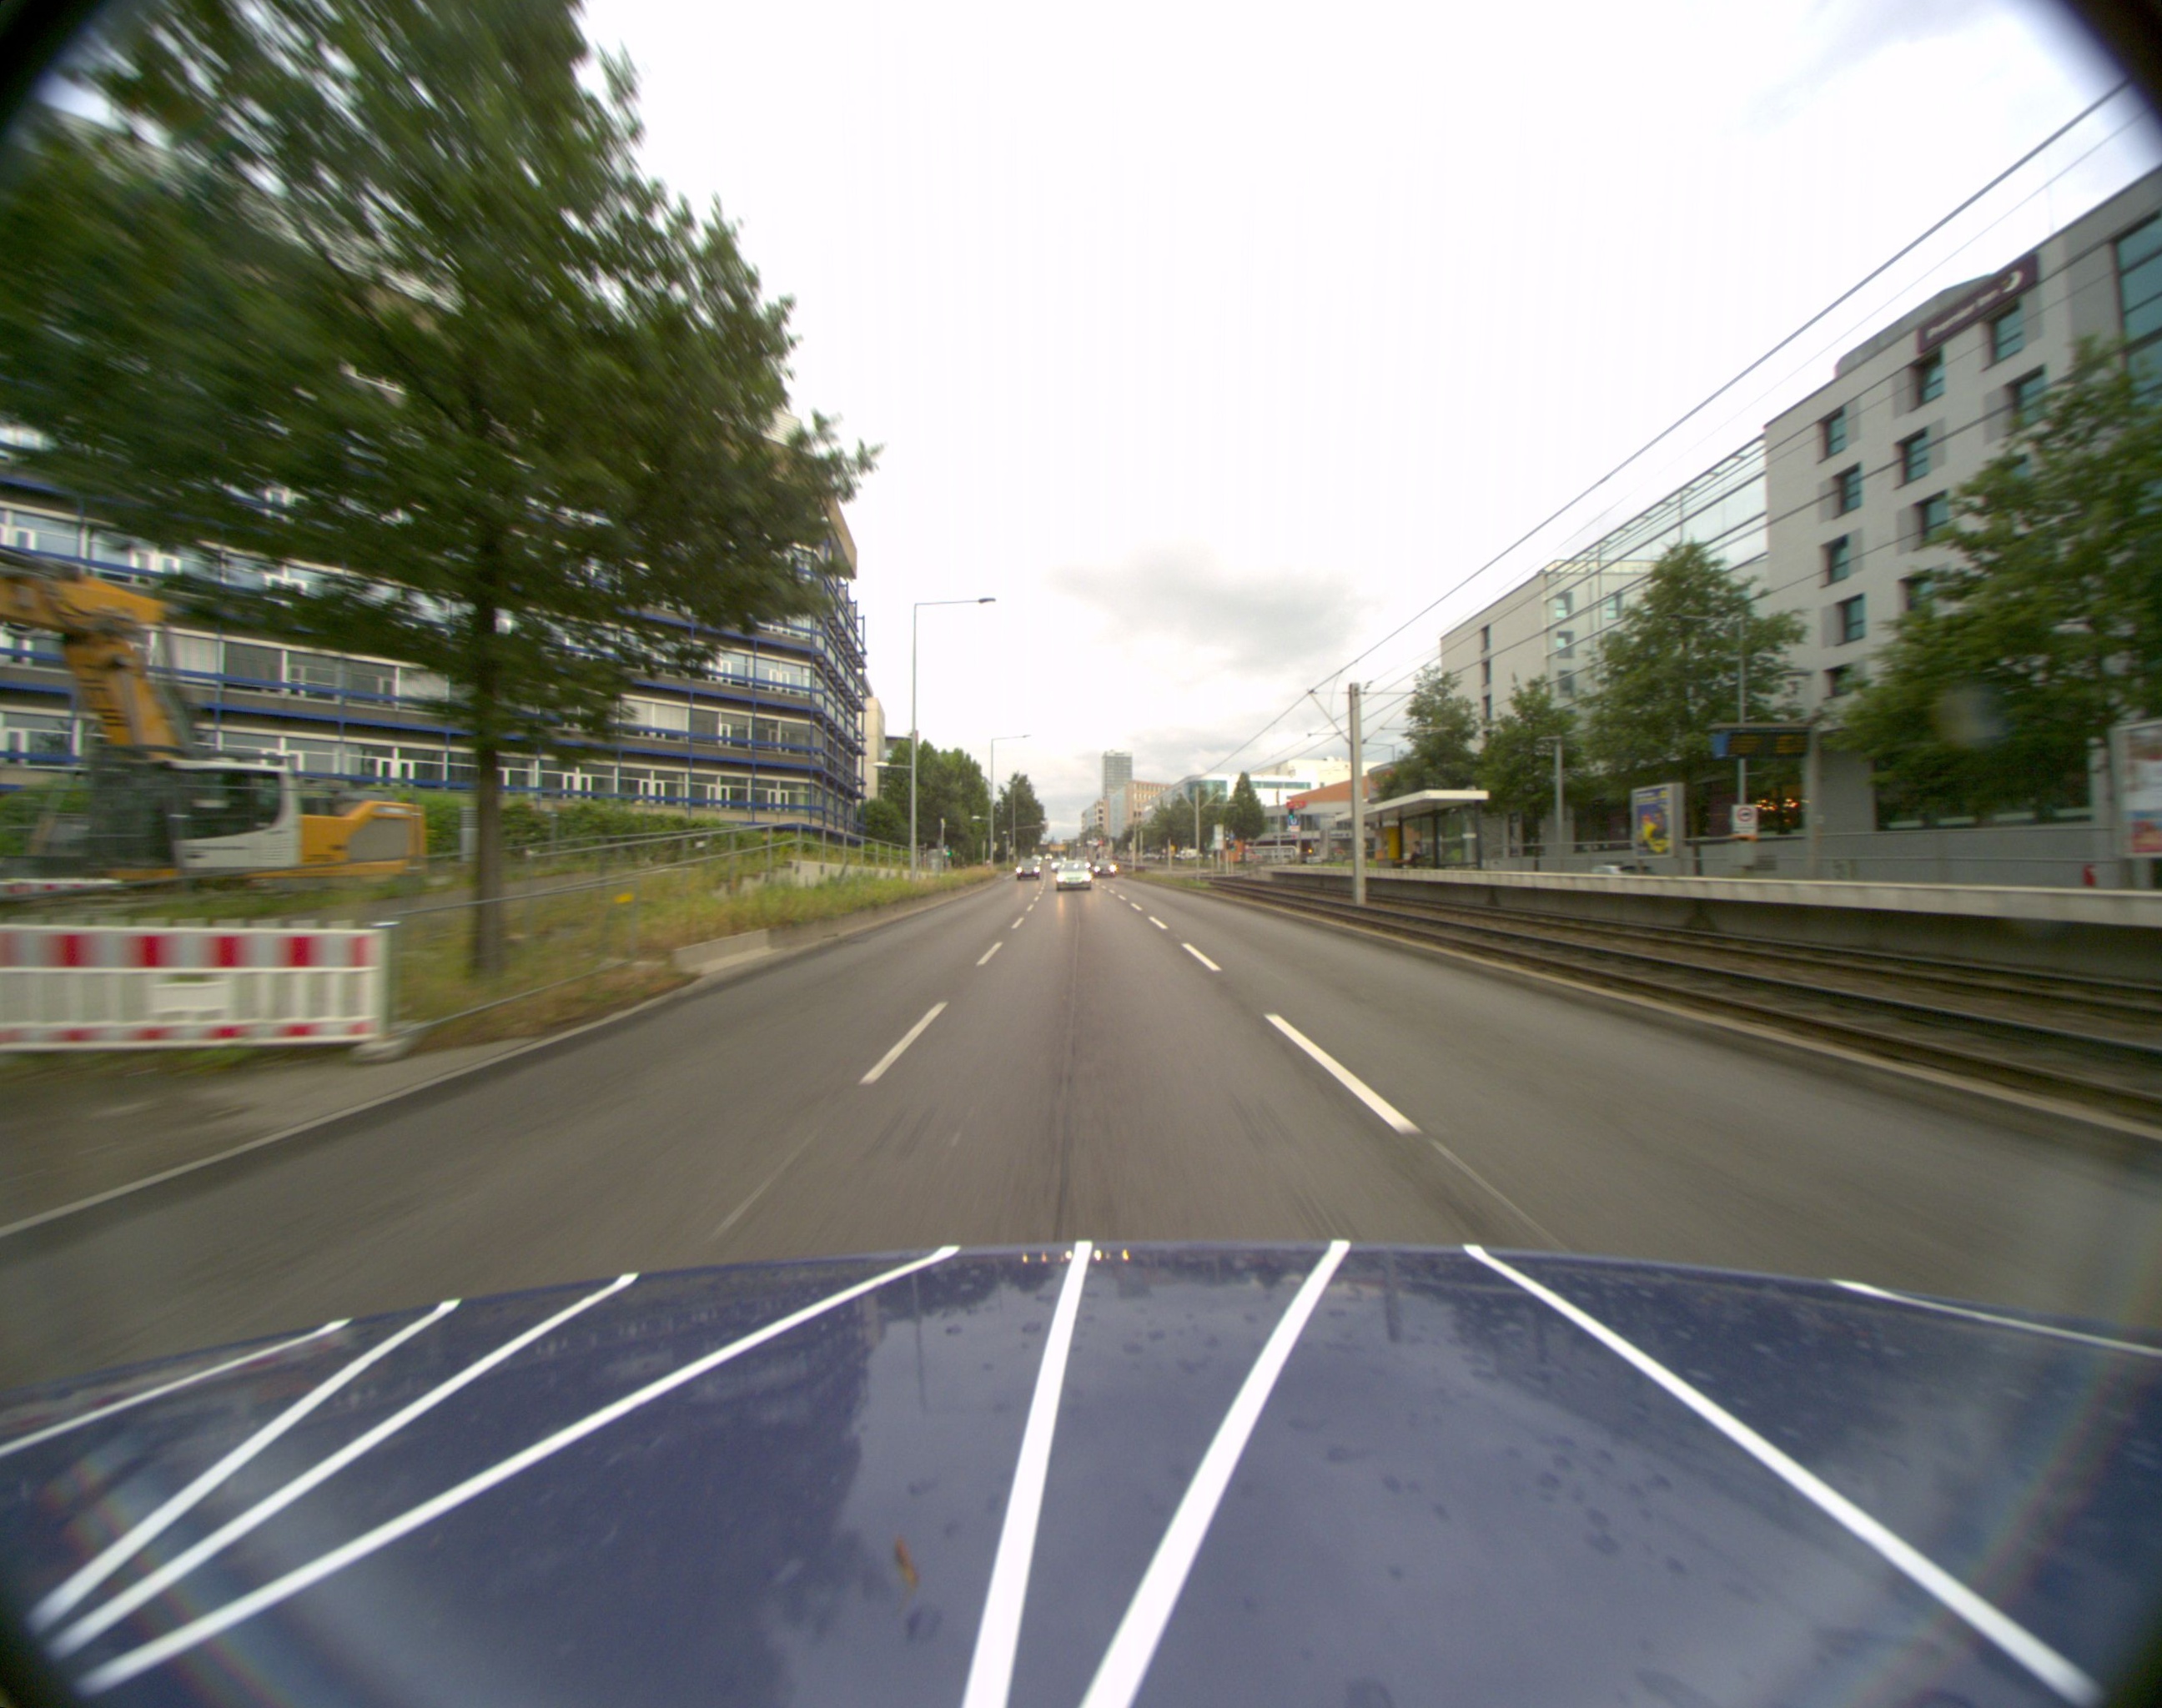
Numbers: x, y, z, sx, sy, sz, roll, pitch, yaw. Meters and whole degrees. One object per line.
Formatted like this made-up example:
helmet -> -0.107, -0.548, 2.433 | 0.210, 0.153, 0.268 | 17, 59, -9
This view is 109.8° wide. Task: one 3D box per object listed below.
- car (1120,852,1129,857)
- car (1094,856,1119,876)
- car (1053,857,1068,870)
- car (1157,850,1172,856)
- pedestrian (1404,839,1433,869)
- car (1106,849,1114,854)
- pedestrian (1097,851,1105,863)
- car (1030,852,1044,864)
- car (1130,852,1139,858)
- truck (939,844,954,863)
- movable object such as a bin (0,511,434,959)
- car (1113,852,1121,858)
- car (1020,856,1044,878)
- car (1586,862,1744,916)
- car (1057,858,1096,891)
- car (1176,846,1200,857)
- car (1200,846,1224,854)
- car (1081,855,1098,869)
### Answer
car -> 11.373, 0.143, 200.107 | 1.858, 1.419, 4.386 | 1, 0, -5
car -> 2.052, 0.961, 62.204 | 1.799, 1.493, 3.999 | -1, 0, -2
car -> -2.533, 1.116, 93.538 | 1.781, 1.552, 3.738 | -1, 0, -3
car -> 24.109, -0.243, 219.341 | 3.846, 1.482, 1.820 | -1, 0, -21
pedestrian -> 14.525, 0.005, 32.720 | 0.964, 1.292, 0.684 | 0, 0, -1
car -> 9.756, -0.776, 258.143 | 1.999, 1.509, 4.704 | -2, 1, -4
pedestrian -> 2.805, 0.438, 106.560 | 0.704, 1.641, 0.648 | -2, 1, -31
car -> -5.991, 0.566, 103.973 | 1.873, 1.533, 4.105 | -1, 0, -3
car -> 12.818, 0.230, 181.970 | 1.733, 1.415, 3.778 | -1, 0, -3
truck -> -19.202, -0.077, 108.553 | 1.751, 2.503, 3.997 | -2, 1, -6
movable object such as a bin -> -15.201, -1.476, 11.289 | 3.298, 5.652, 8.762 | -2, 1, 1
car -> 10.369, 0.185, 217.682 | 1.999, 1.764, 4.387 | -1, 0, -2
car -> -3.945, 1.038, 61.855 | 1.816, 1.660, 4.547 | -1, 0, -3
car -> 19.977, 1.132, 26.314 | 1.900, 1.642, 4.658 | 1, 0, 1
car -> -0.299, 0.993, 39.022 | 1.804, 1.533, 4.373 | -1, 0, -3
car -> 26.828, -0.686, 190.121 | 5.489, 2.614, 2.275 | -2, 1, -20
car -> 33.247, -0.984, 192.830 | 5.484, 1.915, 2.277 | -2, 1, -9
car -> 1.012, 0.948, 92.277 | 1.781, 1.670, 4.129 | -1, 0, -3
